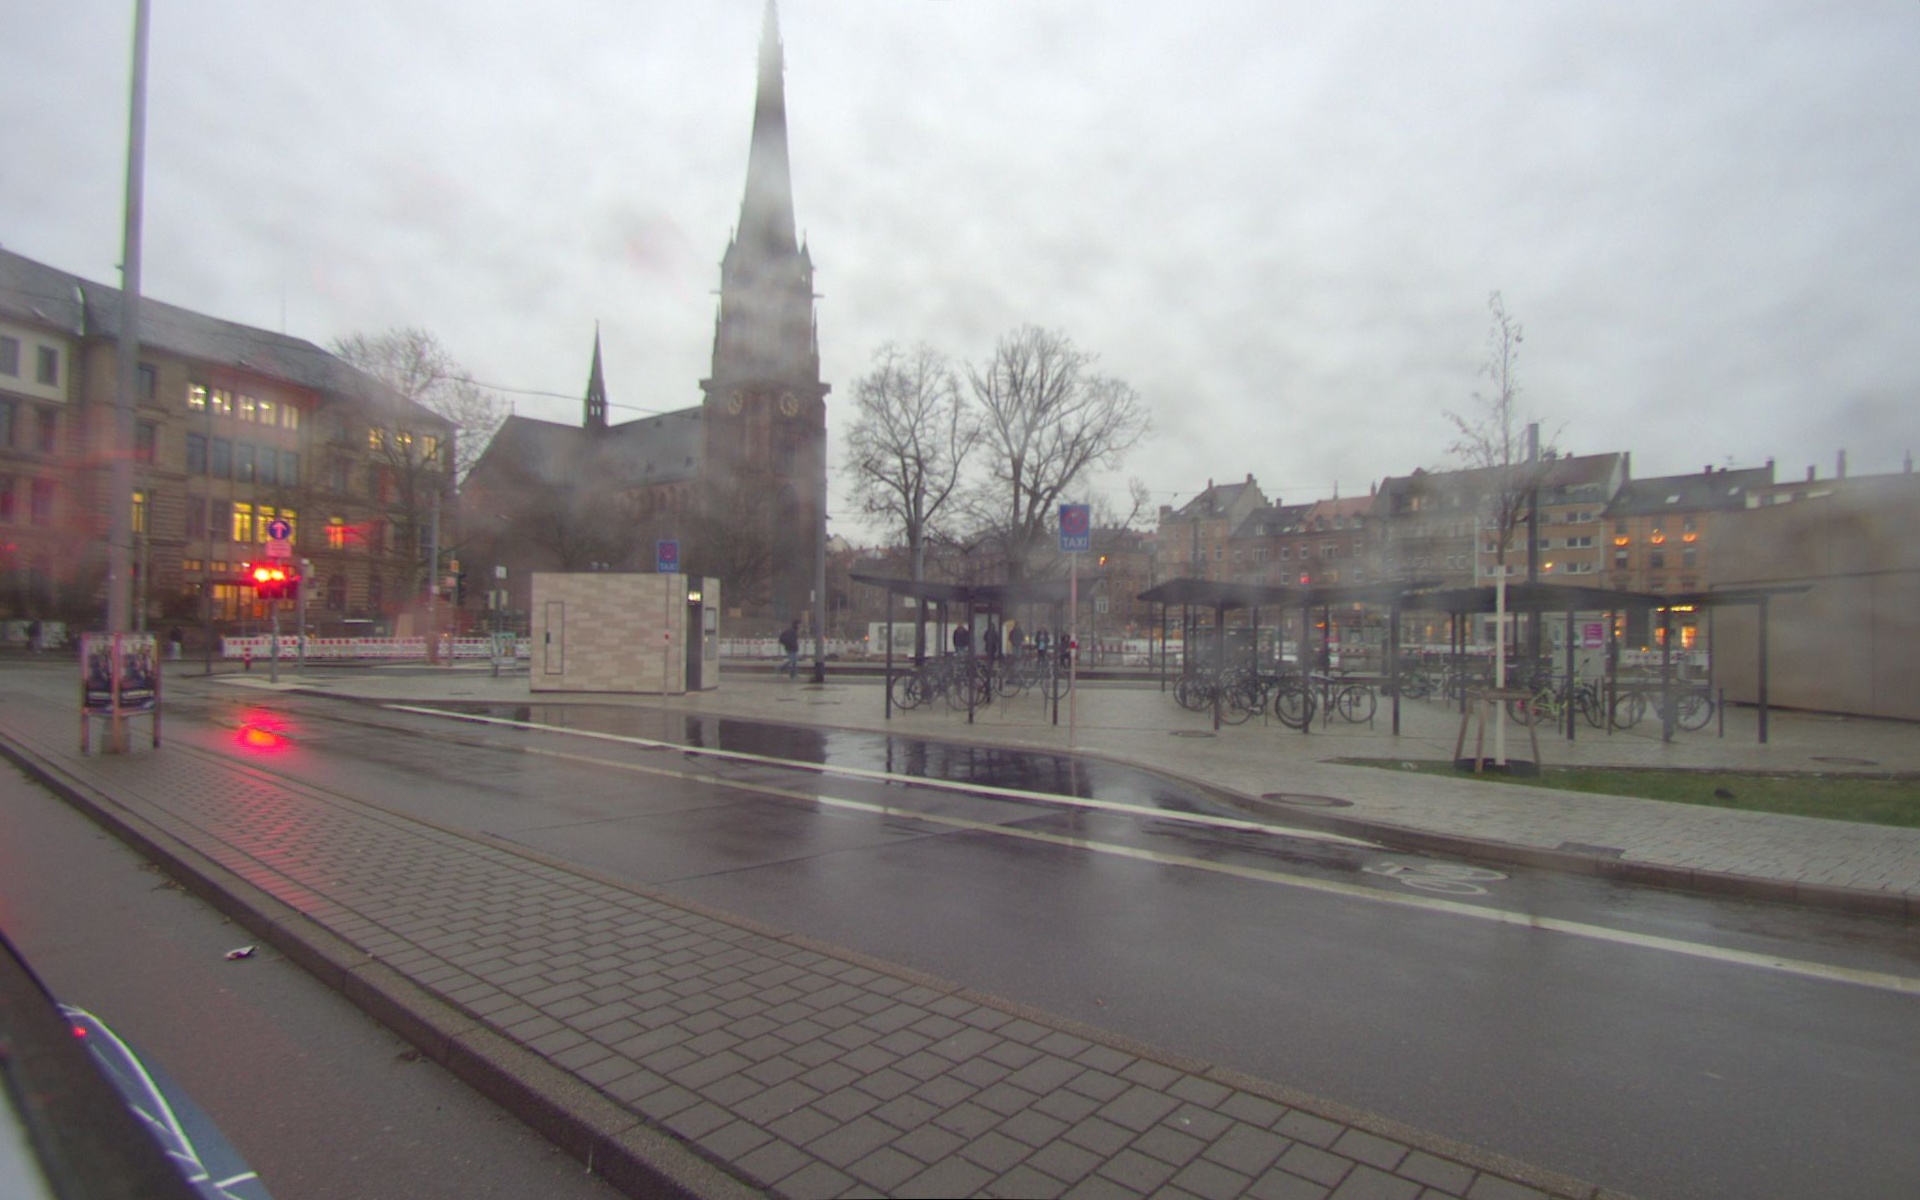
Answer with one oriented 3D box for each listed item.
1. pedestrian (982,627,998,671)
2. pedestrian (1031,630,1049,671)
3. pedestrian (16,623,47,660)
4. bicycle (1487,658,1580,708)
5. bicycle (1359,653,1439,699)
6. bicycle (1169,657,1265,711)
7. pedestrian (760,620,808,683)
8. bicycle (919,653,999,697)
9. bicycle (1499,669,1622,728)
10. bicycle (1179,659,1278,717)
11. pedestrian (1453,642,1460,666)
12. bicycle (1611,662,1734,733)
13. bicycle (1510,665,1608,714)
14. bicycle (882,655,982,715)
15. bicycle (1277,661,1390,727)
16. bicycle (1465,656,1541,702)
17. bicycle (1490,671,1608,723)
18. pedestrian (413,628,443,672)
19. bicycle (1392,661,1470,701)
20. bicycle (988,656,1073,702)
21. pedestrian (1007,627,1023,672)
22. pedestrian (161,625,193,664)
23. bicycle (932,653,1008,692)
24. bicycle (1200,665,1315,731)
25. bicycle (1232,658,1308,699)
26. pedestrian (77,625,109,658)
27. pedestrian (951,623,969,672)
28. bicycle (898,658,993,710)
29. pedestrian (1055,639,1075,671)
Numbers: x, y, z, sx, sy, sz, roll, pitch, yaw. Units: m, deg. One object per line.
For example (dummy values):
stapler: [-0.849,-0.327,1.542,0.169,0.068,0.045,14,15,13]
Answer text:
pedestrian: [1.145,1.862,38.652,0.556,1.664,0.540,-1,0,-1]
pedestrian: [3.030,1.914,38.333,0.580,1.513,0.675,-1,0,-1]
pedestrian: [-46.872,2.081,51.083,0.885,1.830,0.674,1,-2,1]
bicycle: [13.250,1.912,23.418,1.810,1.081,0.474,1,-1,8]
bicycle: [11.181,1.927,25.803,1.780,1.116,0.473,1,-1,11]
bicycle: [5.427,1.775,21.401,1.899,1.078,0.474,1,-1,2]
pedestrian: [-5.104,1.487,29.407,1.056,1.778,1.008,0,-3,10]
bicycle: [-0.018,1.831,24.869,1.905,0.993,0.473,1,-1,11]
bicycle: [11.123,1.816,18.785,1.905,0.983,0.473,1,-1,11]
bicycle: [5.429,1.776,20.548,1.905,1.078,0.473,1,-1,11]
pedestrian: [42.234,4.604,86.108,0.436,2.029,0.414,3,-4,-41]
bicycle: [12.686,1.727,18.046,1.731,1.165,0.617,1,-1,1]
bicycle: [12.897,1.922,21.831,1.751,0.963,0.473,1,-1,11]
bicycle: [-0.541,1.655,19.867,1.905,1.078,0.473,1,-1,11]
bicycle: [6.942,1.737,18.867,1.905,1.129,0.473,1,-1,11]
bicycle: [13.229,1.919,24.665,1.551,1.044,0.521,1,-1,1]
bicycle: [11.364,1.865,19.572,1.905,0.898,0.473,1,-1,11]
pedestrian: [-21.291,1.976,40.522,0.760,1.673,1.211,-1,0,-14]
bicycle: [11.618,1.994,24.992,1.672,0.898,0.474,1,-1,5]
bicycle: [1.636,1.824,23.424,1.905,0.993,0.473,1,-1,11]
pedestrian: [2.064,1.859,38.114,0.543,1.648,0.571,-1,0,-1]
pedestrian: [-39.452,2.248,51.003,0.960,1.915,0.674,1,-2,-1]
bicycle: [0.268,1.871,26.127,1.905,0.917,0.473,1,-1,11]
bicycle: [5.253,1.722,17.957,1.905,1.078,0.473,1,-1,11]
bicycle: [7.659,1.944,25.071,1.729,0.946,0.474,1,-1,7]
pedestrian: [-46.104,2.185,53.831,0.917,1.737,0.826,0,-3,6]
pedestrian: [0.001,1.805,38.579,0.619,1.808,0.672,-1,0,-1]
bicycle: [-0.297,1.735,21.067,1.905,0.993,0.473,1,-1,11]
pedestrian: [3.977,2.076,38.324,0.610,1.165,0.806,-1,0,-1]
